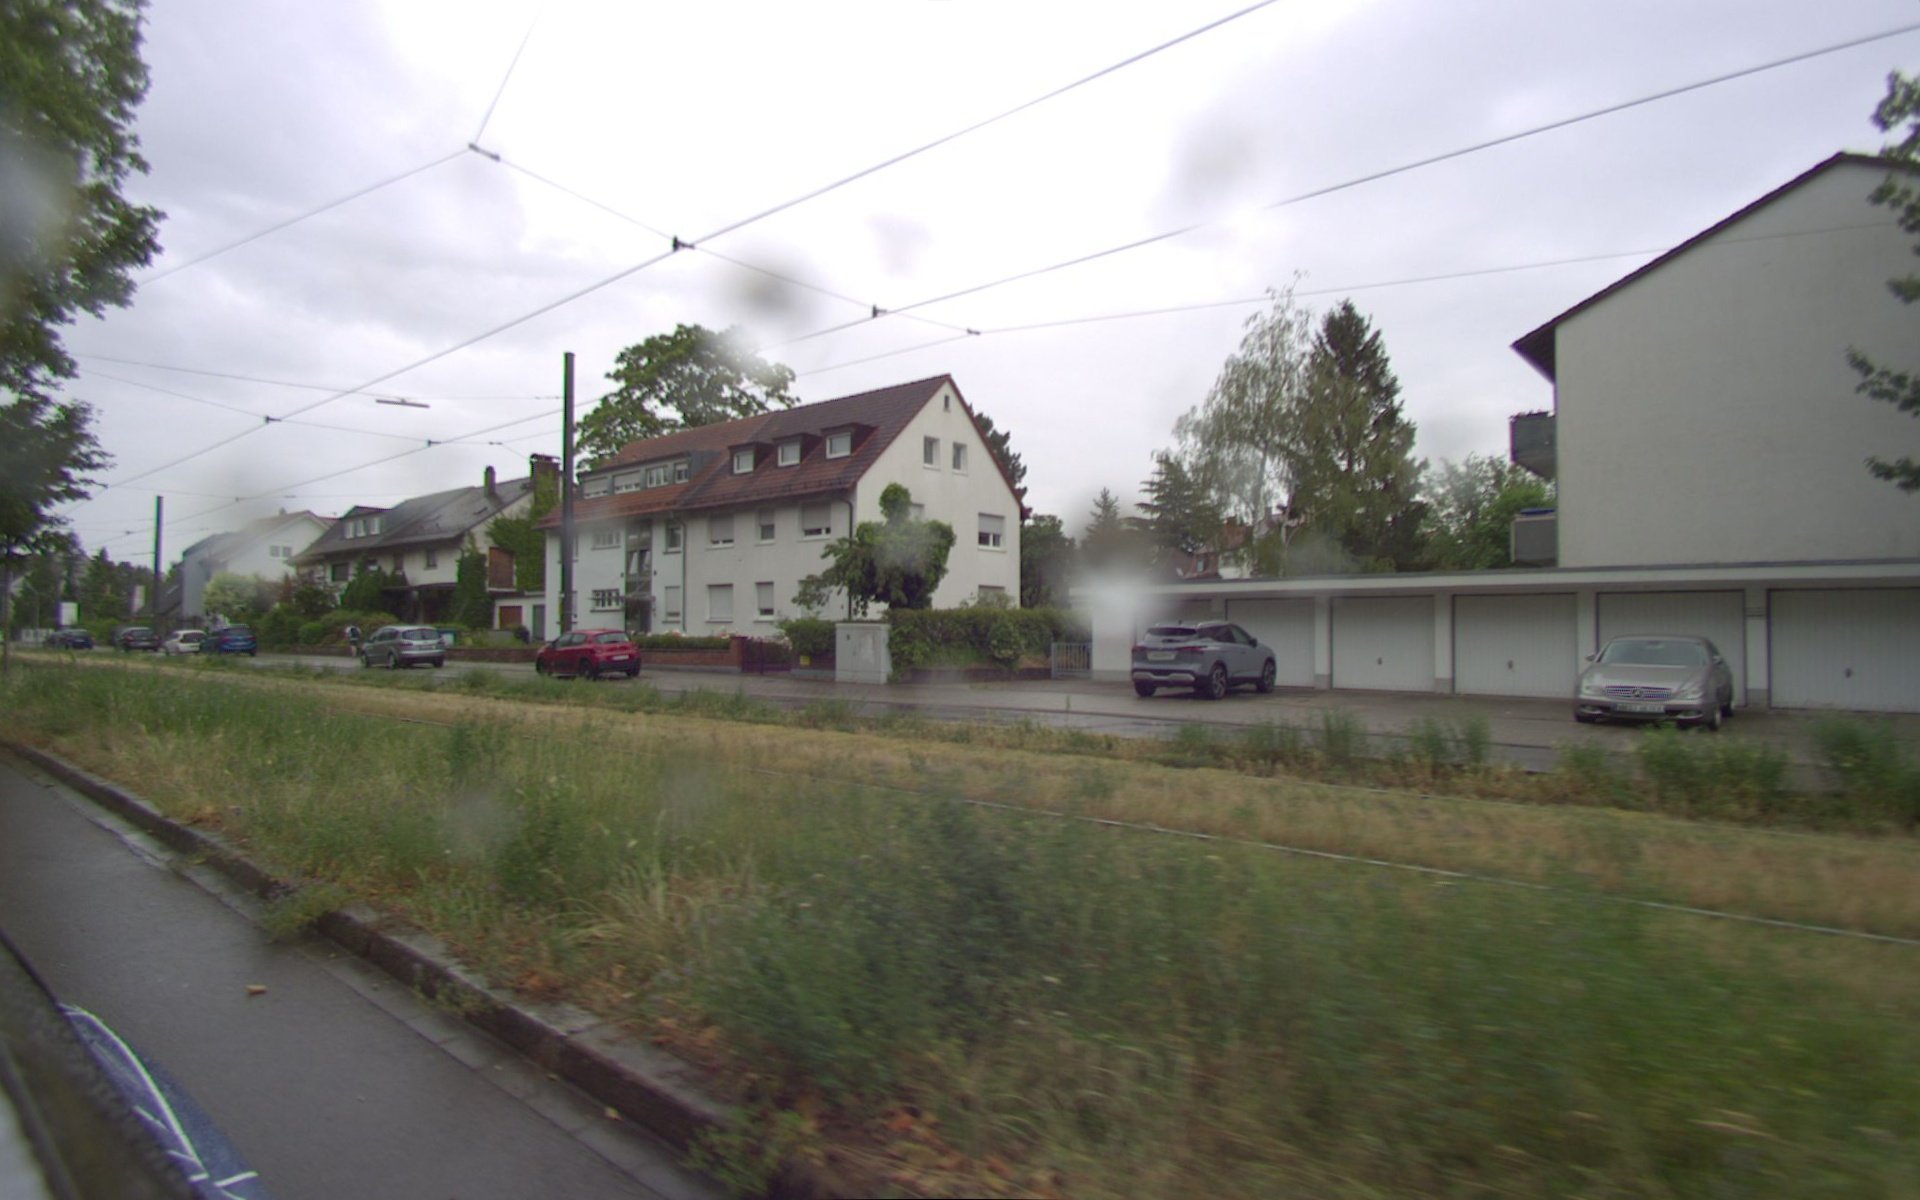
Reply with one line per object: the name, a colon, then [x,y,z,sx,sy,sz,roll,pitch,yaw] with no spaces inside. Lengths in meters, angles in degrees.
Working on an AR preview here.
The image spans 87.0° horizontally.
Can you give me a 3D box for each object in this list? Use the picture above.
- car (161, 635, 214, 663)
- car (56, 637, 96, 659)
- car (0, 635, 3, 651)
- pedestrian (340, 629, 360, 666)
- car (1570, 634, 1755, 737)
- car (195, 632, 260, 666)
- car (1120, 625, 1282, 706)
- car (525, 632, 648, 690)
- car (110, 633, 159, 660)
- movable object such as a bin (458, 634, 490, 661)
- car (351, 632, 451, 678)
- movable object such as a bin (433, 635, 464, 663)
car: [-45.157,2.833,59.155,3.598,1.540,1.696,-2,0,40]
car: [-67.678,3.640,77.504,3.851,1.527,1.737,-2,0,40]
car: [-94.394,4.170,98.215,3.851,1.527,1.737,-2,0,40]
pedestrian: [-29.879,2.316,49.551,0.868,1.781,0.592,-2,-2,40]
car: [11.557,1.274,16.506,1.848,1.376,4.674,-2,-2,42]
car: [-39.700,2.629,54.843,4.178,1.719,1.826,-2,-2,39]
car: [5.297,1.368,21.912,1.891,1.588,3.947,-2,-3,39]
car: [-11.369,1.795,30.715,3.971,1.558,1.822,-2,0,41]
car: [-54.200,3.012,66.450,4.107,1.626,1.737,-2,0,40]
movable object such as a bin: [-24.031,2.354,50.067,0.739,1.308,1.241,-2,-2,41]
car: [-21.794,2.097,39.400,4.682,1.626,1.973,-2,-1,41]
movable object such as a bin: [-24.850,2.358,49.162,0.739,1.308,1.172,-2,-2,41]
